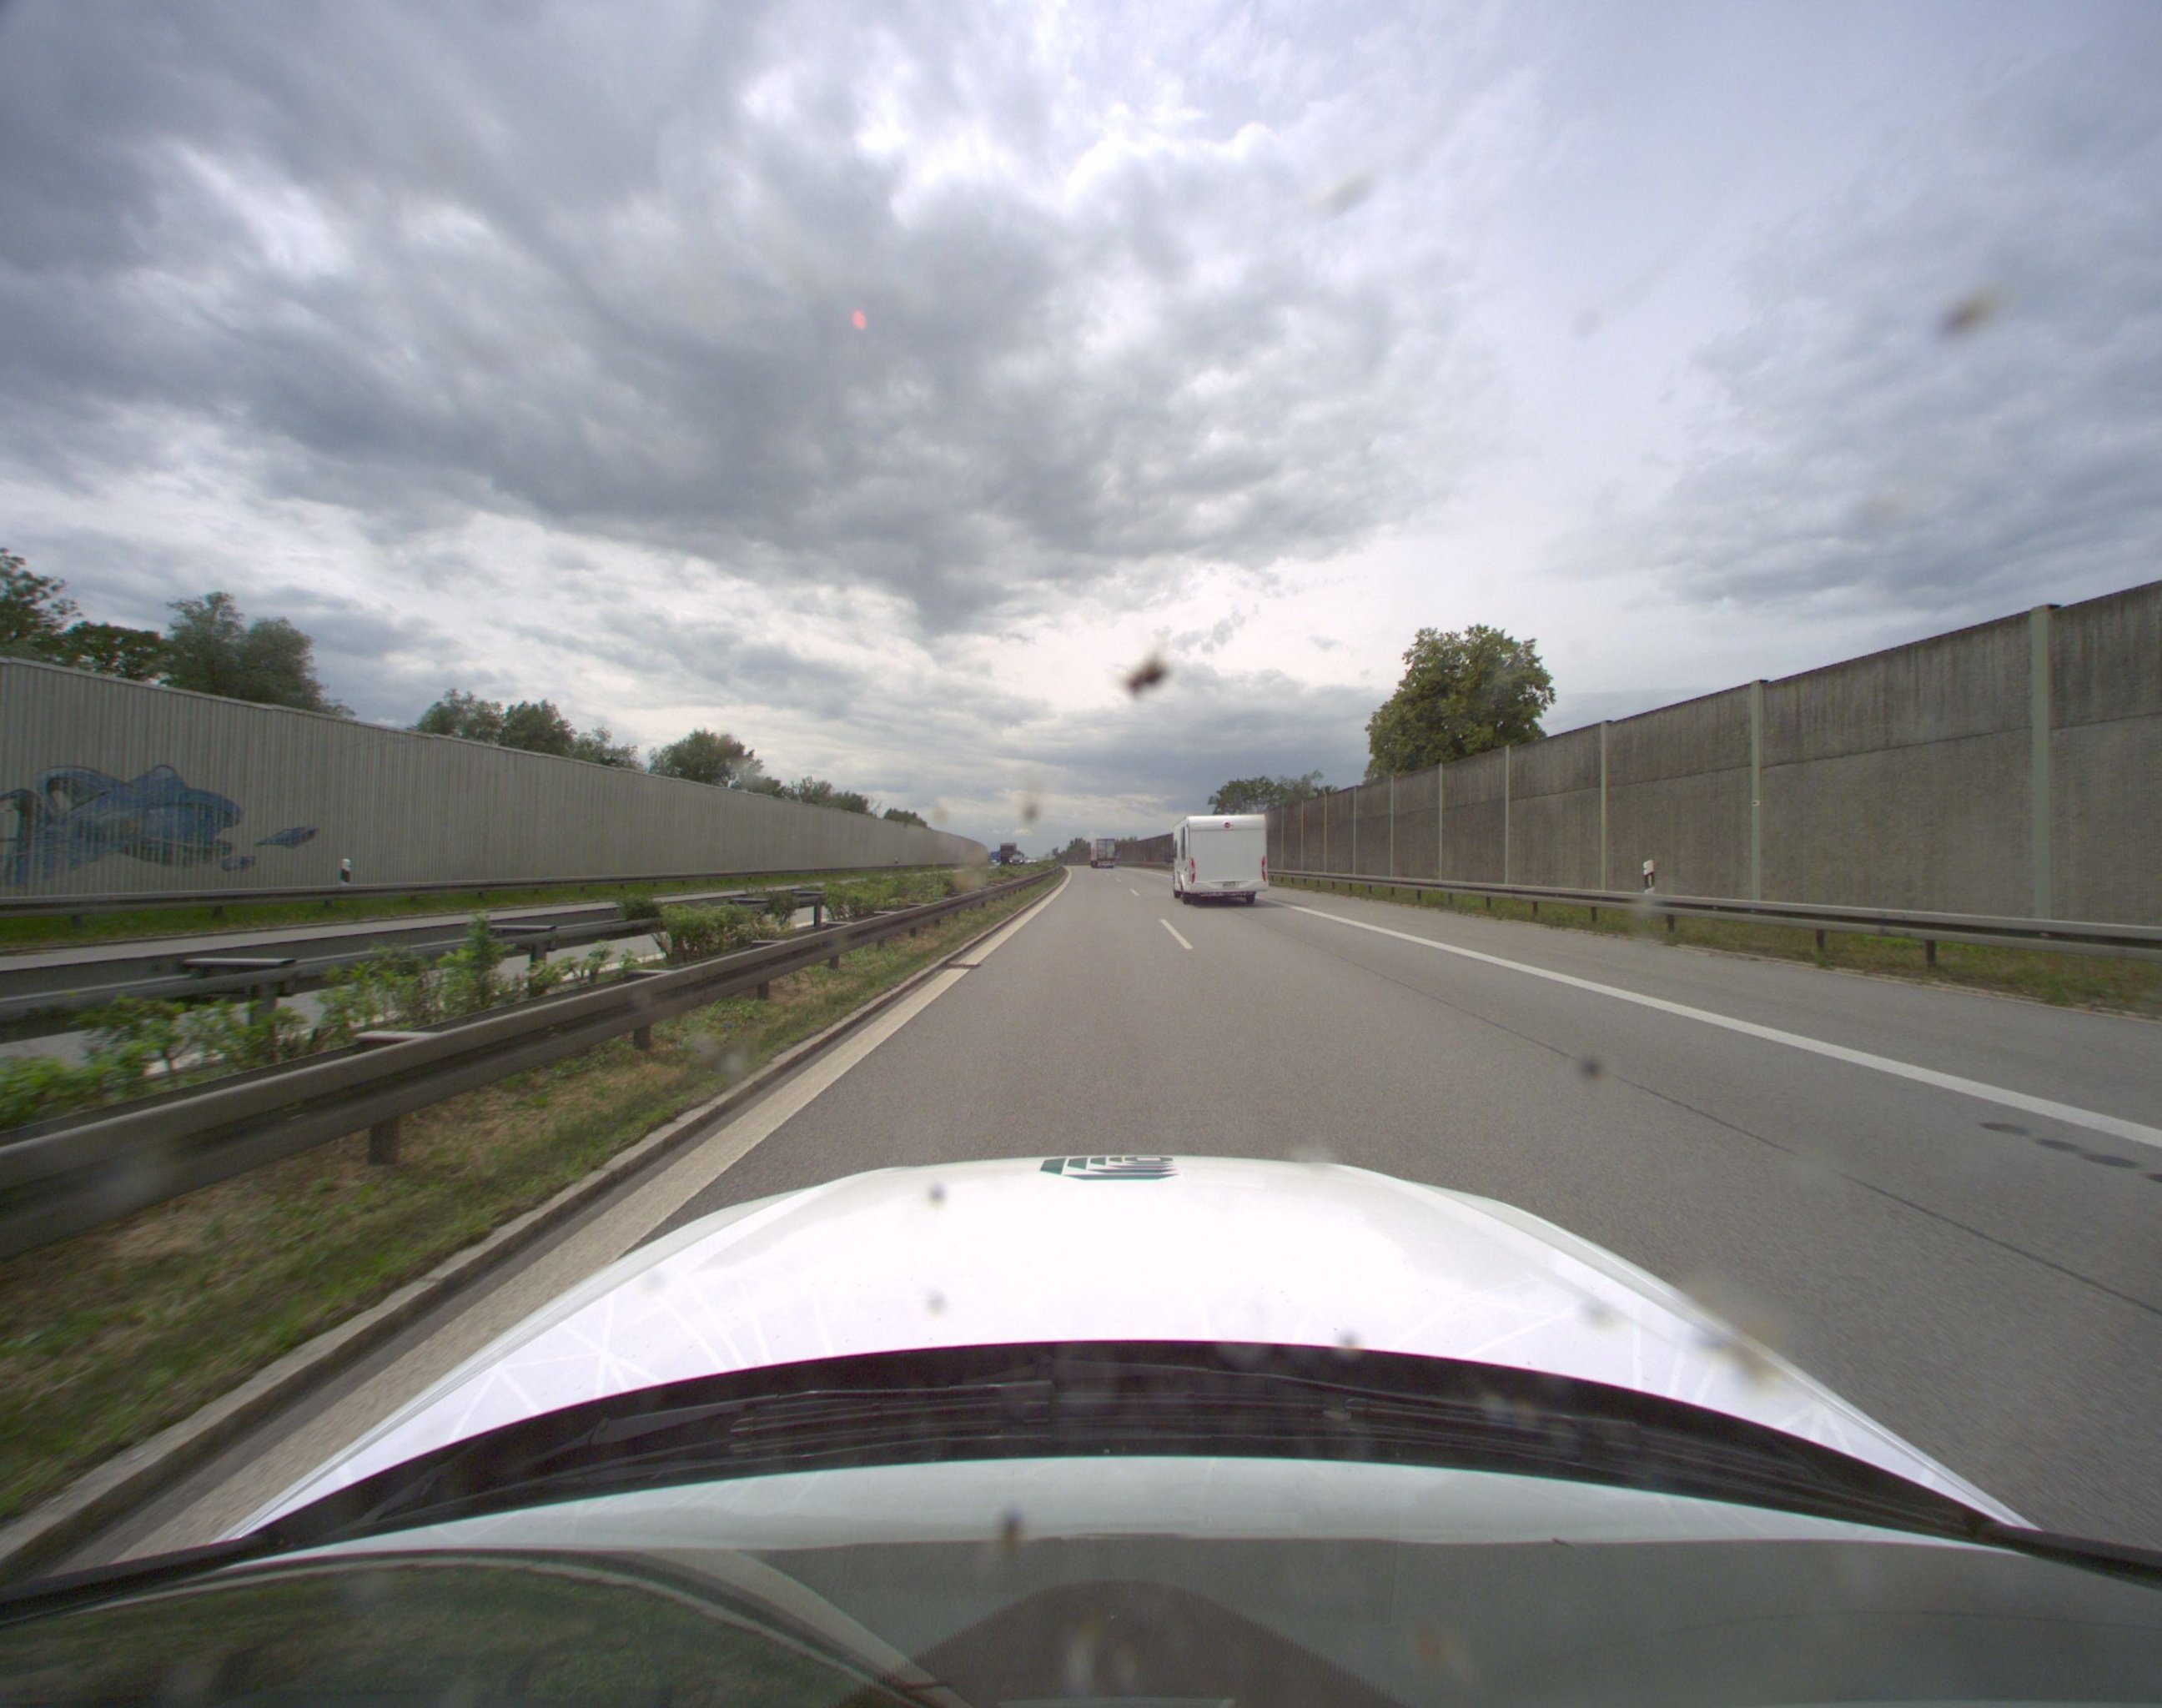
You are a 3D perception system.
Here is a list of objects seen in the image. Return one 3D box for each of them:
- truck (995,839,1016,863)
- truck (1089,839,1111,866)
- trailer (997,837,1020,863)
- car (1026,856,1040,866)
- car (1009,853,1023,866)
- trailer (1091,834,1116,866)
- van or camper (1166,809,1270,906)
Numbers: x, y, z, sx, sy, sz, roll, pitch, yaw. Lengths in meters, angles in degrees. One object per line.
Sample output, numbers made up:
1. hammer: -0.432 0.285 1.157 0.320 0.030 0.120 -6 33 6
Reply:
1. truck: -12.495 -0.398 134.835 2.865 3.859 6.072 0 0 -1
2. truck: 2.854 -0.227 123.524 2.750 3.960 5.670 -1 -1 -3
3. trailer: -12.585 -0.635 141.870 2.973 4.240 14.171 -1 0 -1
4. car: -7.690 1.065 131.849 1.925 1.549 4.566 -1 0 0
5. car: -8.648 0.685 108.554 1.711 1.642 4.701 -1 0 -2
6. trailer: 3.128 -0.403 117.009 2.785 4.175 14.093 -1 -1 -1
7. van or camper: 4.229 0.113 26.541 2.420 2.696 7.228 0 0 2
